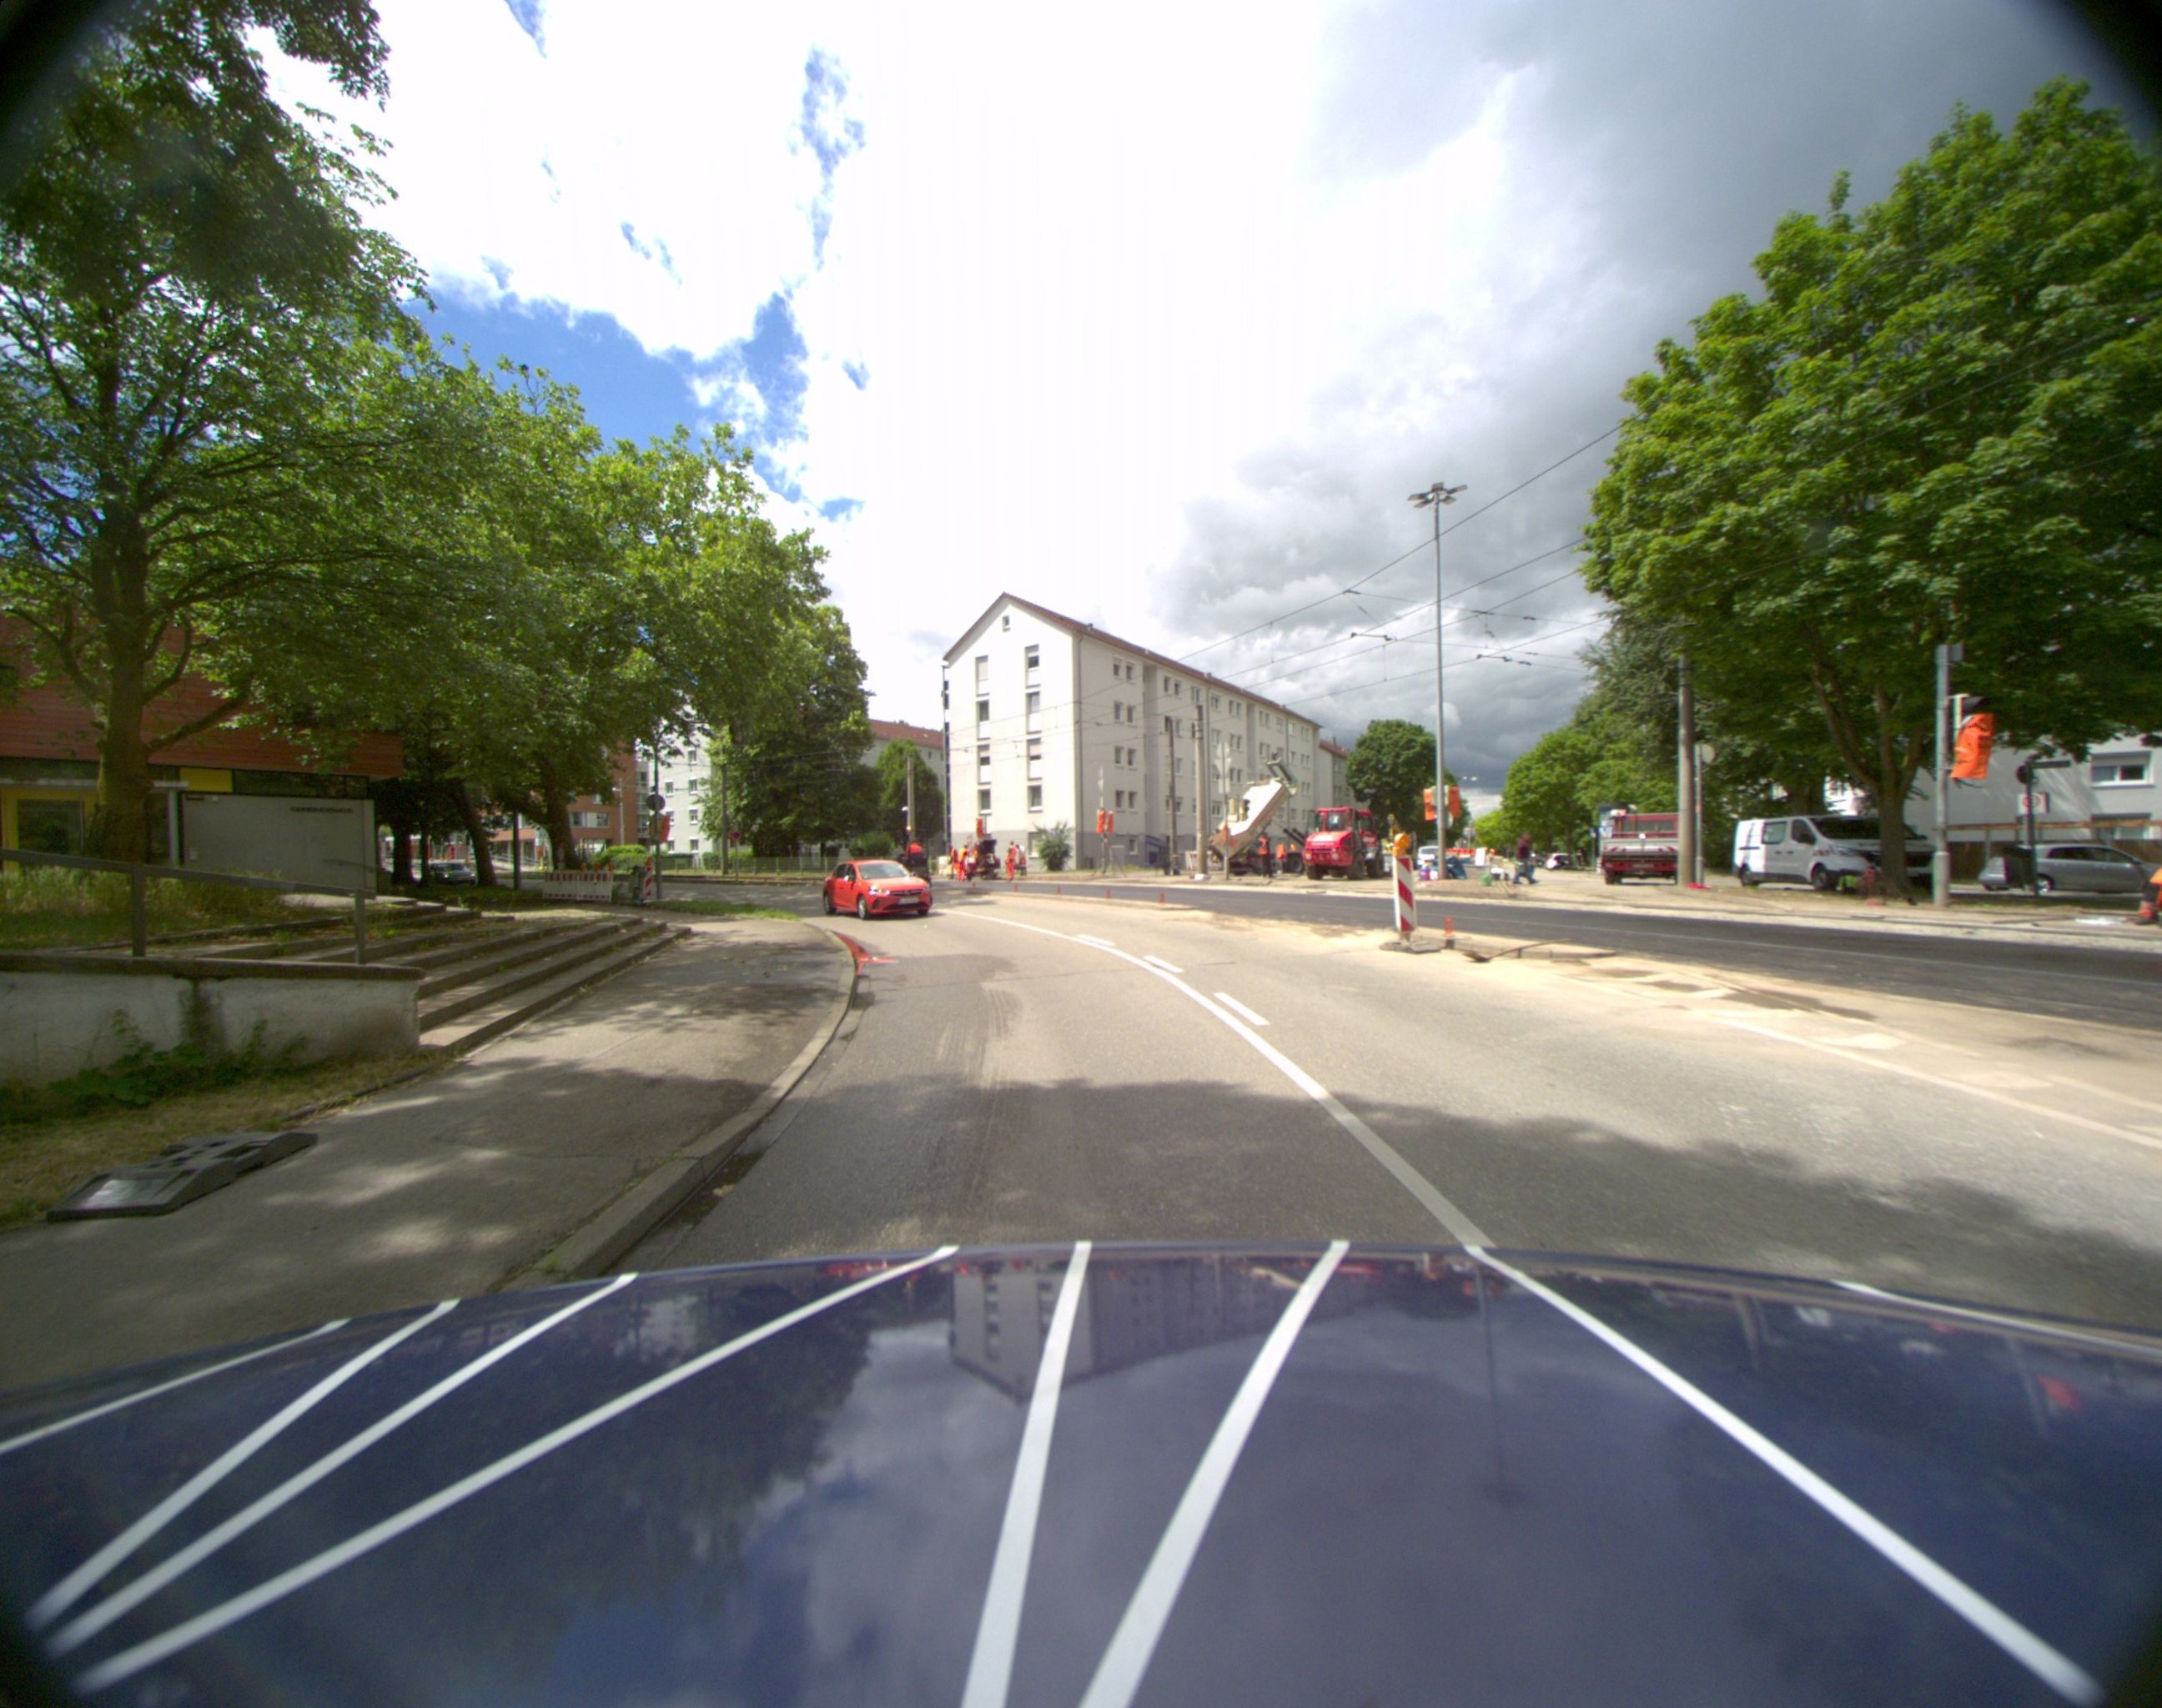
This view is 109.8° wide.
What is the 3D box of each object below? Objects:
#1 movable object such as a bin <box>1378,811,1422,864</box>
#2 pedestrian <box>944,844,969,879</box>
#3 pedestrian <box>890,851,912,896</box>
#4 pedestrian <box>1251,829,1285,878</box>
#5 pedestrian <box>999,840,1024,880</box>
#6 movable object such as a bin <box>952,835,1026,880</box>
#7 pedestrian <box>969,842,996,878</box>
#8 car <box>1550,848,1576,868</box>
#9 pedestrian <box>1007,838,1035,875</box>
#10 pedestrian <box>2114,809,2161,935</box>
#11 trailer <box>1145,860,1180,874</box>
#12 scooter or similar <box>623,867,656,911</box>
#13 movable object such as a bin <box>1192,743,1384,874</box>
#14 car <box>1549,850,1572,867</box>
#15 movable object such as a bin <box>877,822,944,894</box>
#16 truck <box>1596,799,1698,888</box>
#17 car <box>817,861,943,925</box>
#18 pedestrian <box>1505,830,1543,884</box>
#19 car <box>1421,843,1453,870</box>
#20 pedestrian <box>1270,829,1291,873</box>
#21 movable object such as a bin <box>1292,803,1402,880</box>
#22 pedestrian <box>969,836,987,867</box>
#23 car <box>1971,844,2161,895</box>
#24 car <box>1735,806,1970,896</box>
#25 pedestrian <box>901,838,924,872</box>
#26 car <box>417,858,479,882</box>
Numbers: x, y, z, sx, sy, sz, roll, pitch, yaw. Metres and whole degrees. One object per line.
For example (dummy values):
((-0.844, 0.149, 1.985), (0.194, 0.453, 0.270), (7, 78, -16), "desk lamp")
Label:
((28.421, -1.376, 67.521), (2.819, 4.509, 6.221), (0, 0, 30), "movable object such as a bin")
((-6.171, 0.366, 37.715), (0.916, 1.706, 0.755), (-1, 1, 40), "pedestrian")
((-6.716, 0.726, 28.406), (0.557, 1.672, 0.471), (0, 3, 37), "pedestrian")
((7.144, -0.029, 29.037), (0.798, 1.822, 0.969), (-3, 2, -42), "pedestrian")
((-3.196, 0.282, 35.037), (0.766, 1.828, 0.785), (-1, 1, 32), "pedestrian")
((-4.326, 0.155, 35.545), (2.959, 2.002, 2.004), (-1, 0, 44), "movable object such as a bin")
((-4.858, 0.294, 37.485), (0.861, 1.706, 0.916), (-3, 1, -45), "pedestrian")
((39.364, 0.310, 62.105), (1.760, 1.600, 4.008), (0, 0, 32), "car")
((-2.988, 0.117, 37.974), (0.871, 1.813, 1.098), (-1, 1, 34), "pedestrian")
((13.684, 0.213, 9.413), (0.796, 1.532, 0.764), (-1, 1, 28), "pedestrian")
((3.757, 0.600, 35.073), (0.799, 0.612, 1.593), (0, 0, -32), "trailer")
((-12.797, 0.994, 22.008), (0.567, 1.225, 1.191), (-1, 0, -42), "scooter or similar")
((9.657, -1.920, 35.040), (9.049, 5.453, 2.815), (-1, 0, -28), "movable object such as a bin")
((41.700, 0.377, 66.118), (1.673, 1.496, 4.008), (0, 0, 32), "car")
((-6.410, 0.154, 28.539), (1.323, 2.579, 2.356), (-3, 2, -45), "movable object such as a bin")
((18.460, -0.321, 24.670), (2.412, 2.553, 5.595), (0, 1, 39), "truck")
((-5.303, 0.935, 19.740), (1.773, 1.425, 3.828), (-3, 1, -37), "car")
((13.813, 0.100, 23.692), (0.872, 1.650, 0.931), (-1, 0, 39), "pedestrian")
((27.092, 0.188, 57.760), (1.995, 2.002, 5.919), (0, 0, 27), "car")
((8.229, -0.107, 31.329), (0.611, 1.778, 0.583), (-2, 0, 38), "pedestrian")
((10.309, -0.493, 29.092), (2.110, 2.653, 5.598), (0, 2, 40), "movable object such as a bin")
((-5.703, -0.146, 42.079), (0.881, 1.674, 0.666), (-2, 2, -12), "pedestrian")
((29.151, 0.441, 22.545), (3.196, 1.446, 1.566), (0, 0, 21), "car")
((18.648, -0.061, 18.790), (1.996, 1.876, 5.258), (-1, 0, 20), "car")
((-6.159, 0.037, 27.762), (0.616, 1.209, 0.552), (0, 1, 45), "pedestrian")
((-37.148, 0.949, 44.591), (3.371, 1.311, 1.538), (-1, 1, 27), "car")
